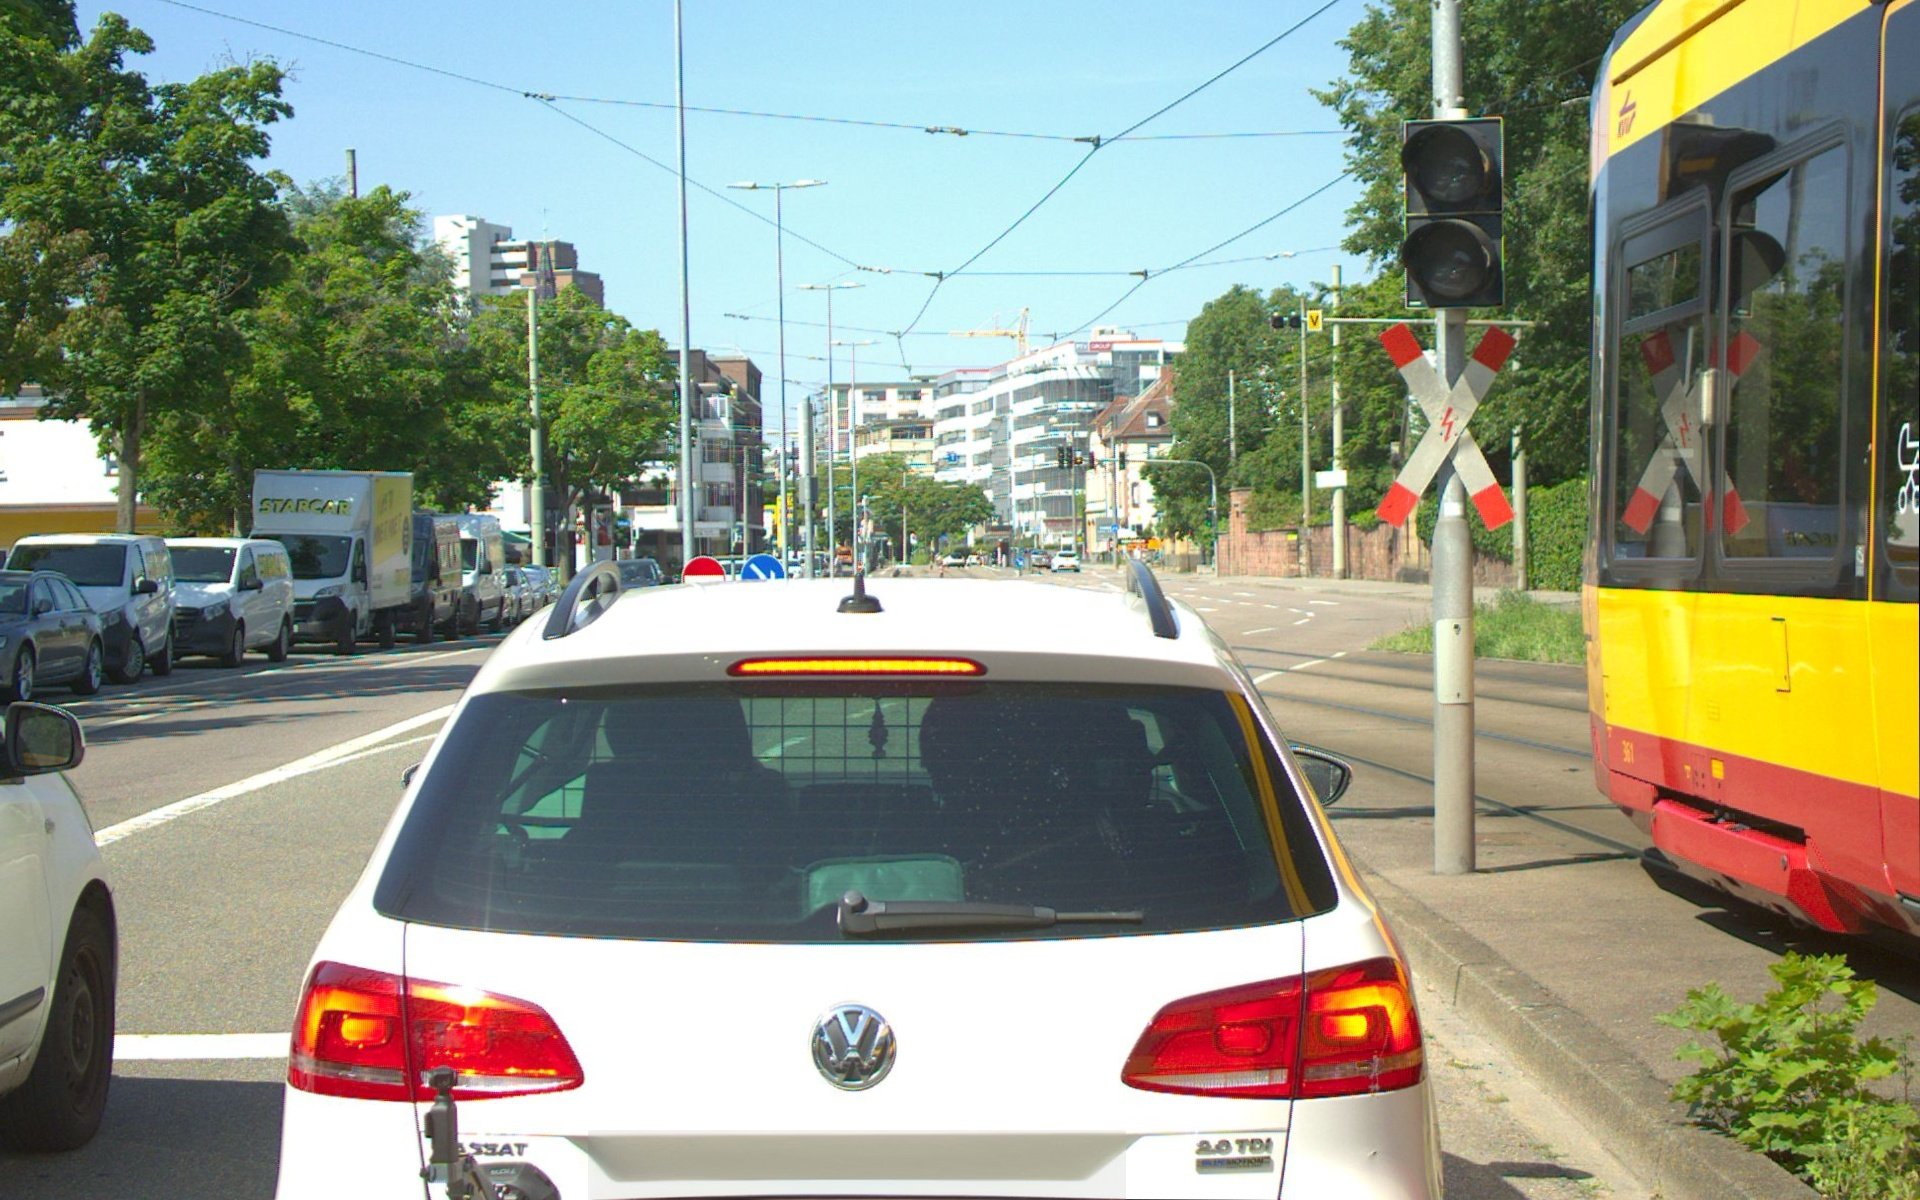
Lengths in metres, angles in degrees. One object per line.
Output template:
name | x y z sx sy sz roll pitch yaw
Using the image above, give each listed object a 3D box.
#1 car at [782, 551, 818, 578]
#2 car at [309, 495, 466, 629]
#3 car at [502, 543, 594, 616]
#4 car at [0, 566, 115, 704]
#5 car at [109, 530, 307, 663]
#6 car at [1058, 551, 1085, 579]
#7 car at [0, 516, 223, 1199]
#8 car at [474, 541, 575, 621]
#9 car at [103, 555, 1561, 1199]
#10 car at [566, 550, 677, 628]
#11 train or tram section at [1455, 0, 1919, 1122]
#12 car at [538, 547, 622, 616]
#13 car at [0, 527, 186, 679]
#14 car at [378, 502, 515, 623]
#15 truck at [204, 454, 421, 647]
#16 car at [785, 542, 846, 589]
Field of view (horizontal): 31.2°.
car | -8.986 -1.999 193.180 1.705 1.468 4.589 -2 1 1
car | -11.306 -0.778 68.313 2.123 2.508 5.733 1 1 0
car | -10.955 -0.574 91.679 1.863 1.861 5.414 1 1 -1
car | -10.963 0.346 38.776 1.863 1.411 4.280 1 1 -1
car | -11.276 -0.098 51.898 1.863 1.861 5.414 1 1 -1
car | 7.512 -2.337 232.290 1.608 1.857 3.731 1 1 -1
car | -2.929 0.591 7.427 1.662 1.542 4.547 0 1 0
car | -10.708 -0.502 84.864 1.863 1.861 5.414 1 1 -1
car | -0.167 0.665 6.206 1.762 1.425 4.000 -1 1 -1
car | -6.854 -0.242 69.948 1.705 1.468 4.589 -2 1 1
train or tram section | 3.752 -0.690 10.138 2.870 3.842 10.539 -1 1 -1
car | -10.874 -0.559 98.597 1.863 1.861 5.414 1 1 -1
car | -11.470 -0.008 45.303 1.863 1.861 5.075 1 1 -6
car | -11.253 -0.847 75.750 2.123 2.508 5.733 1 1 0
truck | -11.253 -0.884 60.311 2.421 3.139 6.997 1 1 0
car | -4.729 -1.140 112.675 1.705 1.468 4.589 -2 1 1
